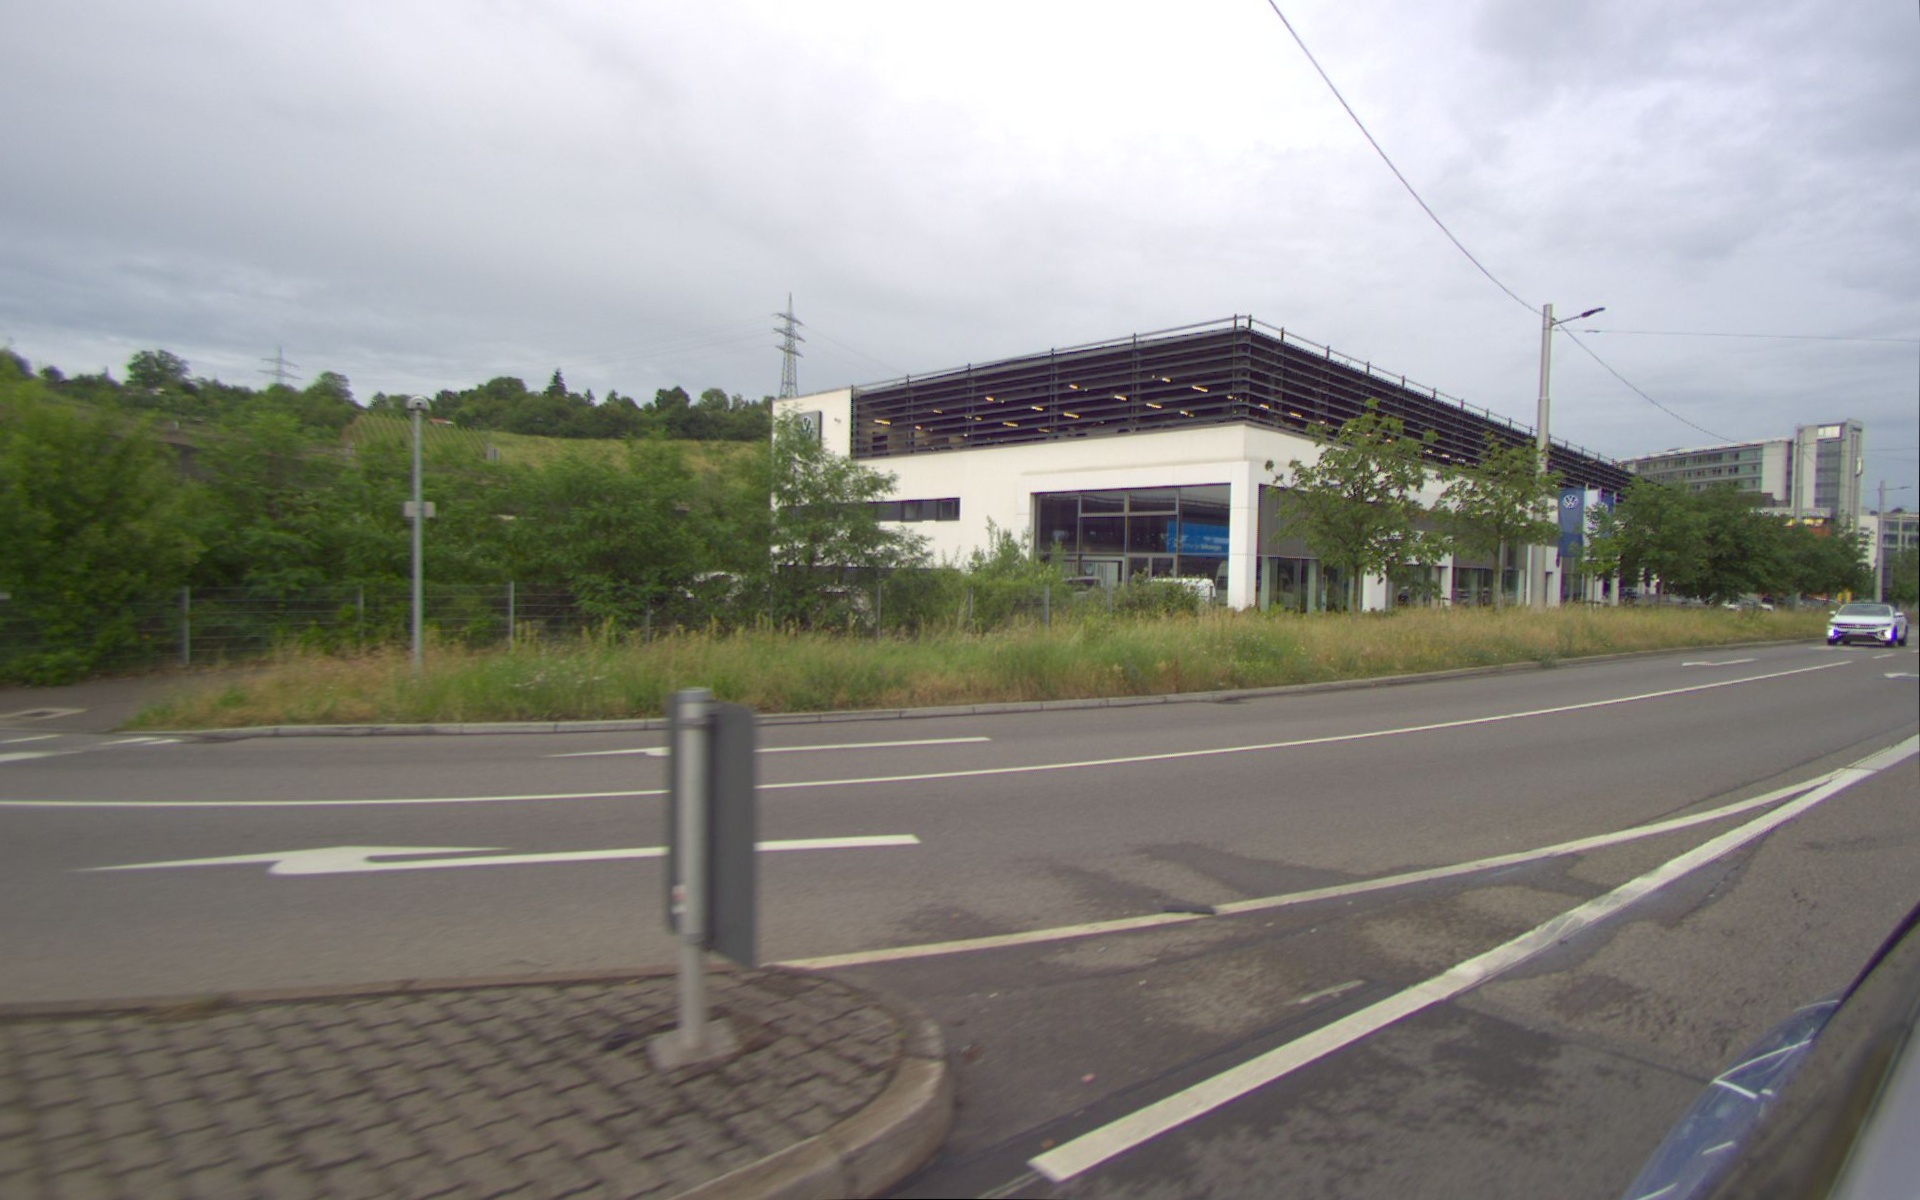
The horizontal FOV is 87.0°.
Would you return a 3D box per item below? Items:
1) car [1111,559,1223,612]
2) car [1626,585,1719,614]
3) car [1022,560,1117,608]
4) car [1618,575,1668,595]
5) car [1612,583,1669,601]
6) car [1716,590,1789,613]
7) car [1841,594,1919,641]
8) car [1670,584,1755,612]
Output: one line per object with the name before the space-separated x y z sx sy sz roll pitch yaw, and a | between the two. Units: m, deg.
car | 8.514 -0.586 41.280 5.008 2.039 2.045 0 1 -45
car | 47.306 -0.053 67.303 4.562 1.587 1.844 3 3 16
car | 5.023 -0.702 45.979 1.945 2.076 4.634 -1 0 43
car | 72.375 -1.592 107.298 1.913 2.000 4.030 0 2 -45
car | 61.405 -0.720 91.333 1.755 1.527 3.992 0 0 -42
car | 61.488 0.100 78.584 4.033 1.587 1.795 2 3 10
car | 32.340 0.580 35.467 3.772 1.513 1.876 0 1 -44
car | 53.058 -0.161 71.432 4.295 1.646 1.848 3 3 16
